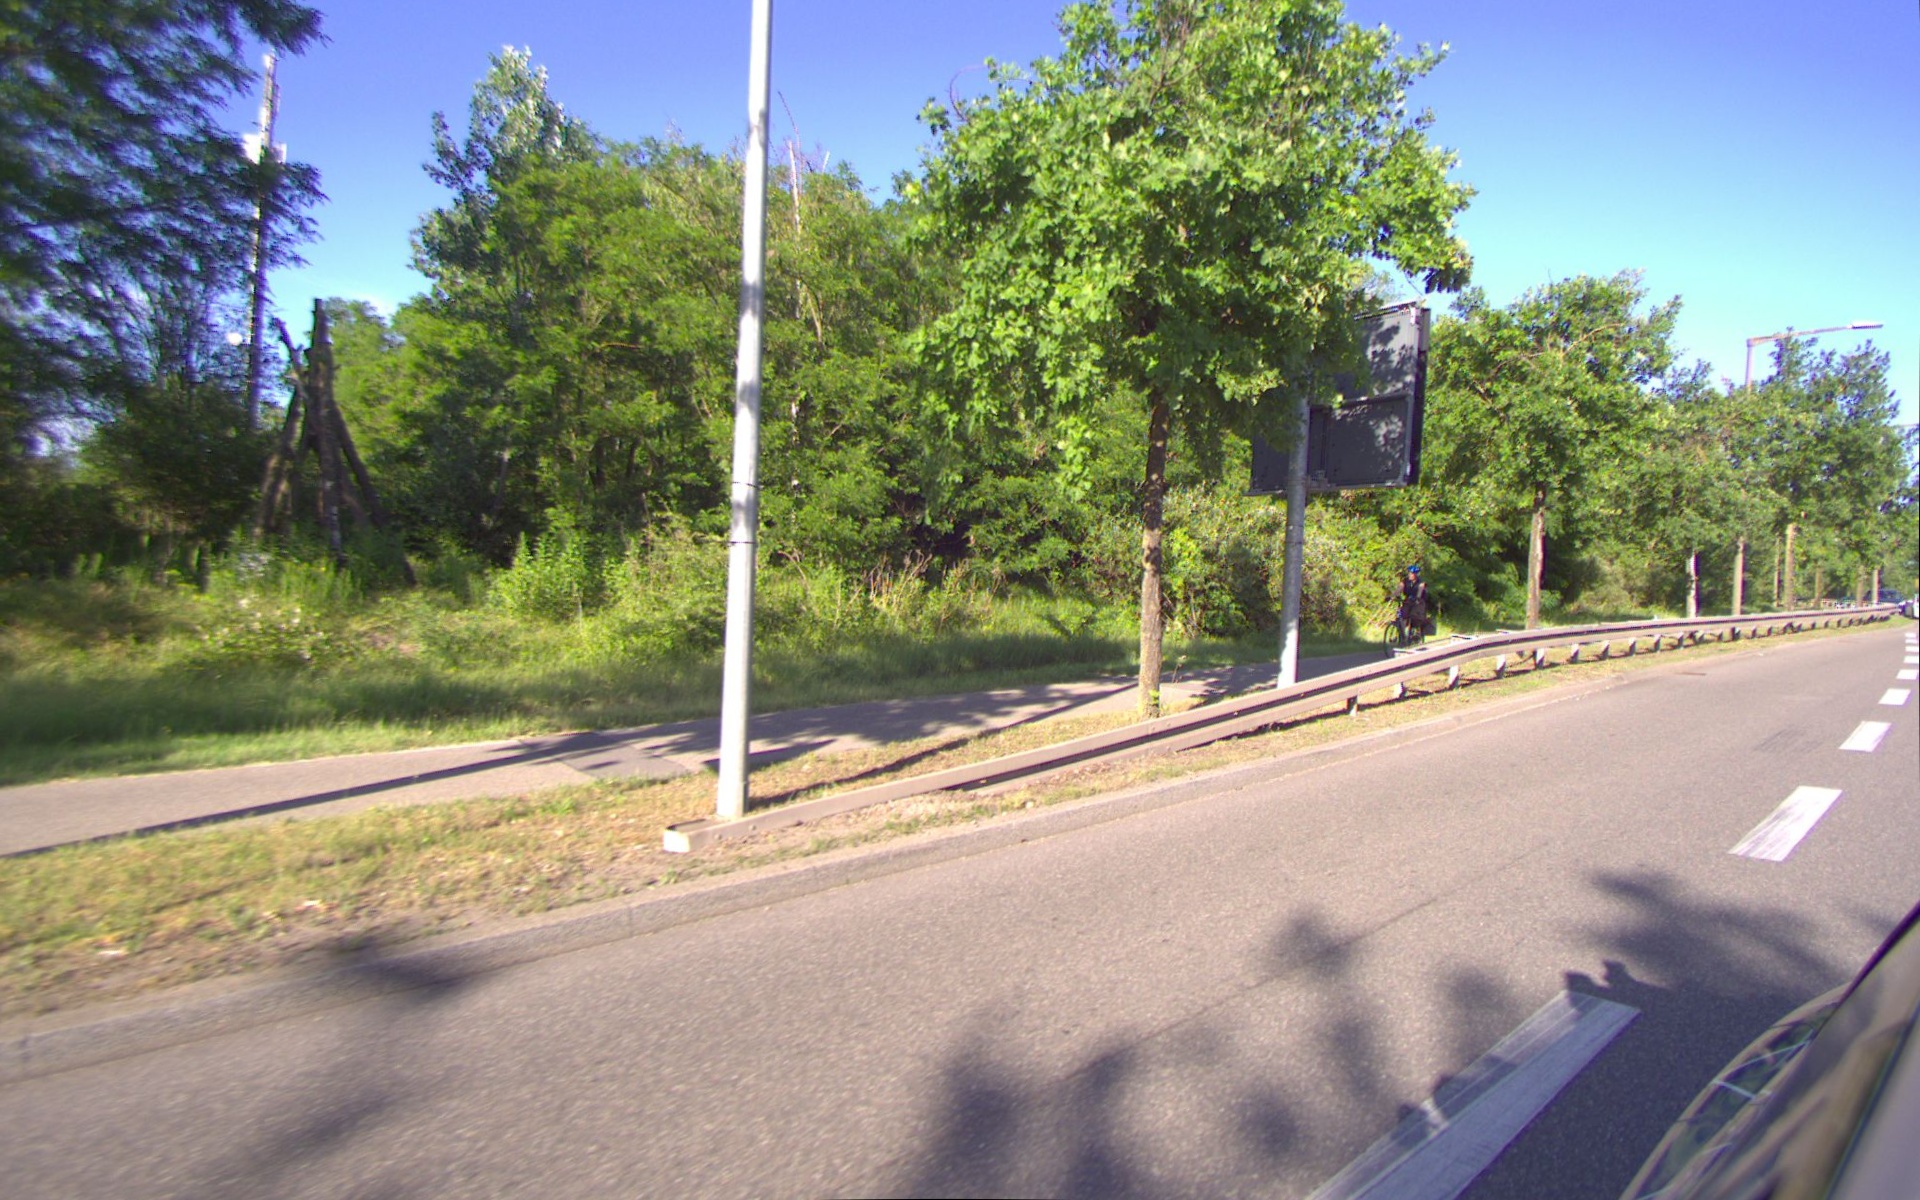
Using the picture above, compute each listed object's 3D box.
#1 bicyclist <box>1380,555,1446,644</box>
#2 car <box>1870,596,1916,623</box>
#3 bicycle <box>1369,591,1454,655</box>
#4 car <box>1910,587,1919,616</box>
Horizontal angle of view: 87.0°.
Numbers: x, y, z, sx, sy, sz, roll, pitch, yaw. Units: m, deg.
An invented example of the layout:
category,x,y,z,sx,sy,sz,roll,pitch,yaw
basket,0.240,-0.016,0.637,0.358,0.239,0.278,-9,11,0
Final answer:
category,x,y,z,sx,sy,sz,roll,pitch,yaw
bicyclist,8.421,-0.019,18.821,0.987,1.597,0.708,1,3,-42
car,62.009,0.638,67.305,1.991,1.738,4.209,2,0,40
bicycle,8.424,0.406,18.847,1.888,1.087,0.702,0,3,-43
car,53.332,0.179,54.769,2.140,1.586,4.144,5,4,36
